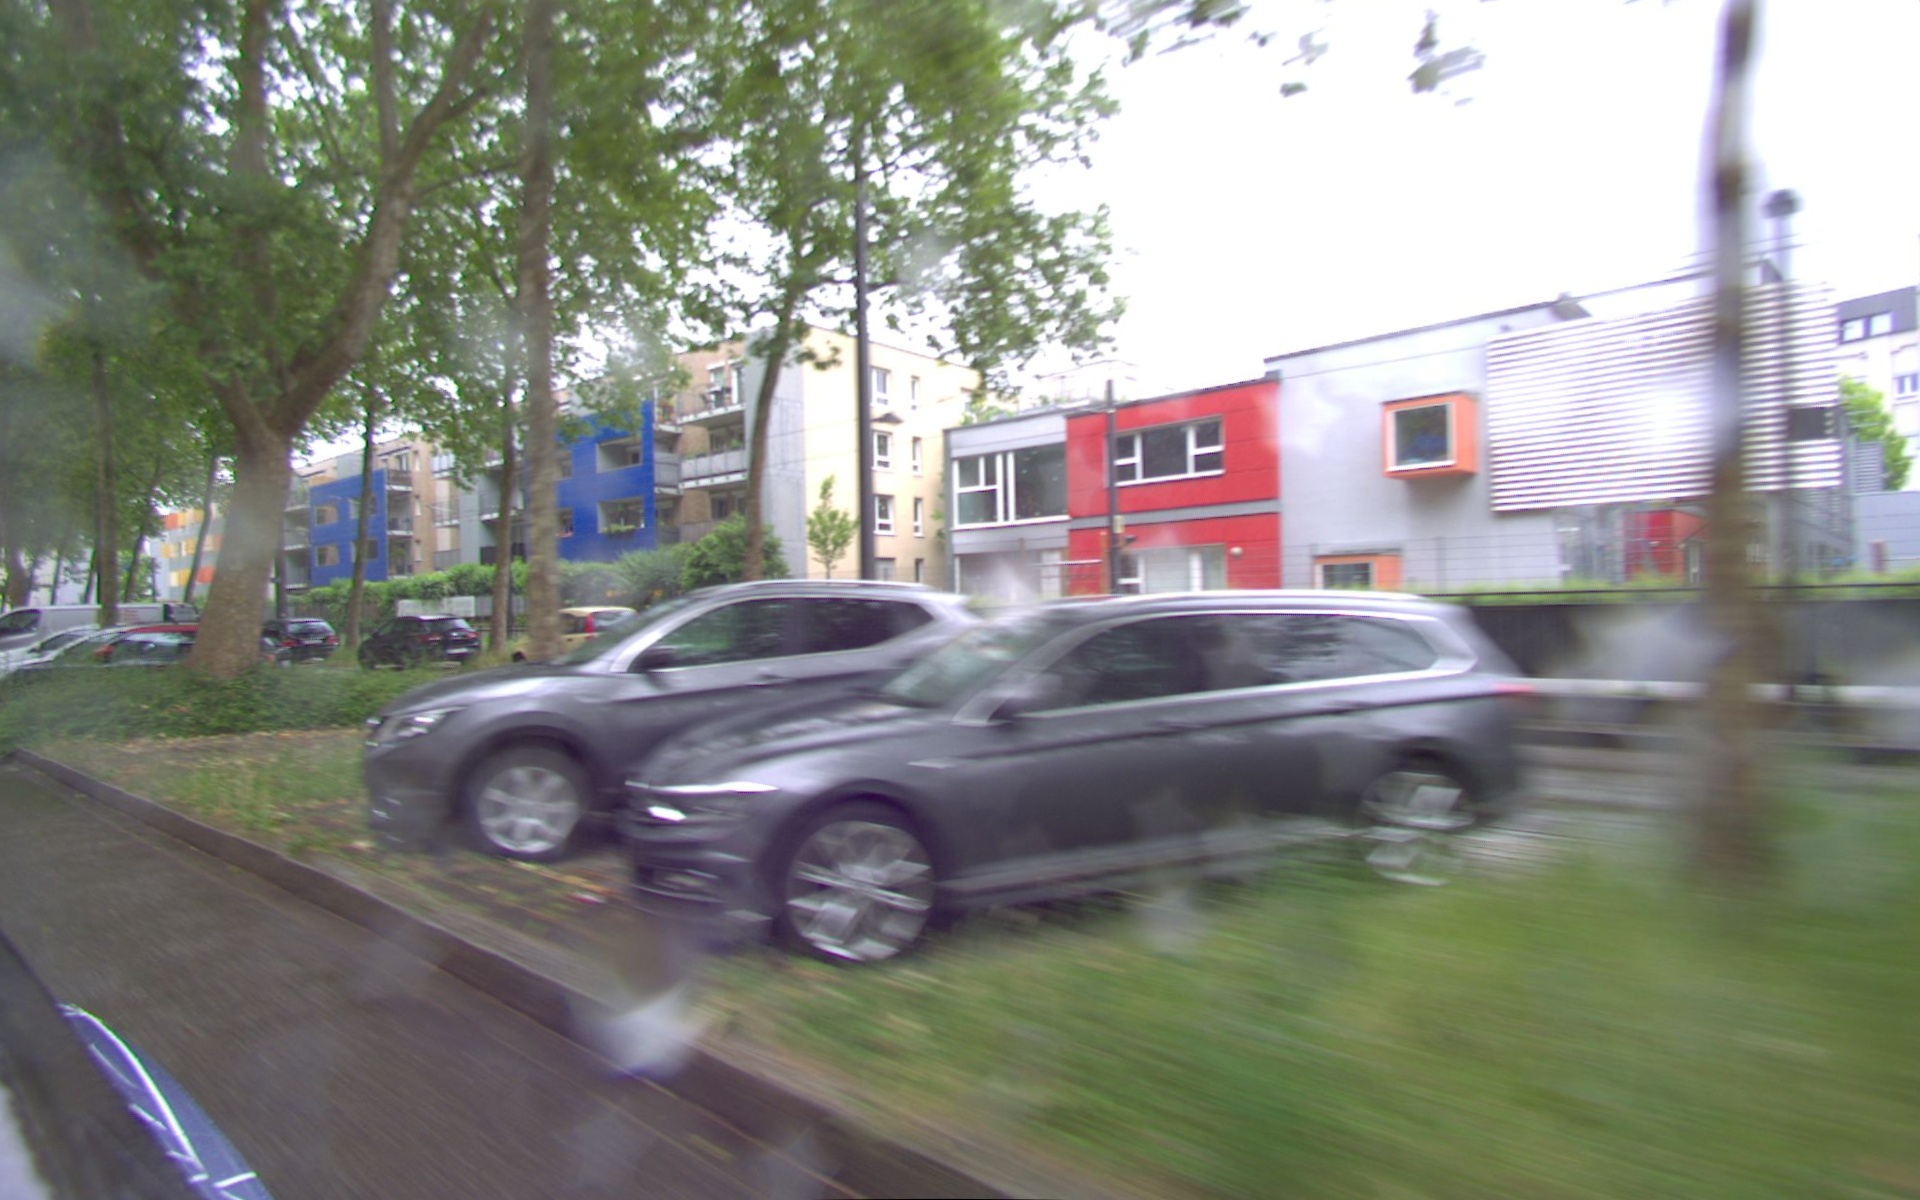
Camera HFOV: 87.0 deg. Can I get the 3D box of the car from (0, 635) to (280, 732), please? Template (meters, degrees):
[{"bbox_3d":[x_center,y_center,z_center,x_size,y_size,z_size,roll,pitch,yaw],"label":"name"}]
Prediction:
[{"bbox_3d":[-14.921,1.426,17.919,4.482,1.493,1.780,-1,-1,-20],"label":"car"}]

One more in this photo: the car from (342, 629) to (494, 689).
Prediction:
[{"bbox_3d":[-14.548,1.561,27.105,4.264,1.431,1.975,-3,-1,37],"label":"car"}]

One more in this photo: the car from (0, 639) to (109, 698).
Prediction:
[{"bbox_3d":[-26.505,1.949,27.953,4.241,1.447,1.753,-3,0,-24],"label":"car"}]

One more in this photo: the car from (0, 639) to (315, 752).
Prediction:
[{"bbox_3d":[-12.700,1.455,16.169,3.752,1.532,1.728,-1,-1,-19],"label":"car"}]

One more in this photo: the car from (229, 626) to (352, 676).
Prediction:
[{"bbox_3d":[-22.187,1.656,33.517,3.982,1.430,1.977,-2,1,34],"label":"car"}]

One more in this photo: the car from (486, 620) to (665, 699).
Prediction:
[{"bbox_3d":[-8.531,1.244,22.343,3.996,1.519,1.974,-1,0,40],"label":"car"}]

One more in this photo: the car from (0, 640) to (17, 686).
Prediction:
[{"bbox_3d":[-37.473,2.334,36.718,4.342,1.658,1.878,0,-1,-20],"label":"car"}]

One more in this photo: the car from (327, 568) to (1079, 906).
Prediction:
[{"bbox_3d":[-1.598,0.673,6.907,4.396,1.609,1.929,-2,0,-26],"label":"car"}]

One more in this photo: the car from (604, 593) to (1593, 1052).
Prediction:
[{"bbox_3d":[0.606,0.776,5.102,4.482,1.532,1.929,-1,-1,-18],"label":"car"}]

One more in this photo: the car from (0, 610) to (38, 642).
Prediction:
[{"bbox_3d":[-66.204,1.843,70.307,5.423,2.012,2.036,-2,2,36],"label":"car"}]

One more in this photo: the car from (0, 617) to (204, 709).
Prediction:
[{"bbox_3d":[-21.161,1.448,23.768,5.043,1.992,2.109,-1,-1,-20],"label":"car"}]

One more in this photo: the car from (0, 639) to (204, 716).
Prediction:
[{"bbox_3d":[-18.938,1.644,21.965,3.721,1.493,1.728,-1,-1,-19],"label":"car"}]

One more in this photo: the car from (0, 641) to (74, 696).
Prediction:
[{"bbox_3d":[-29.091,2.102,29.917,3.999,1.510,1.753,-3,0,-27],"label":"car"}]
